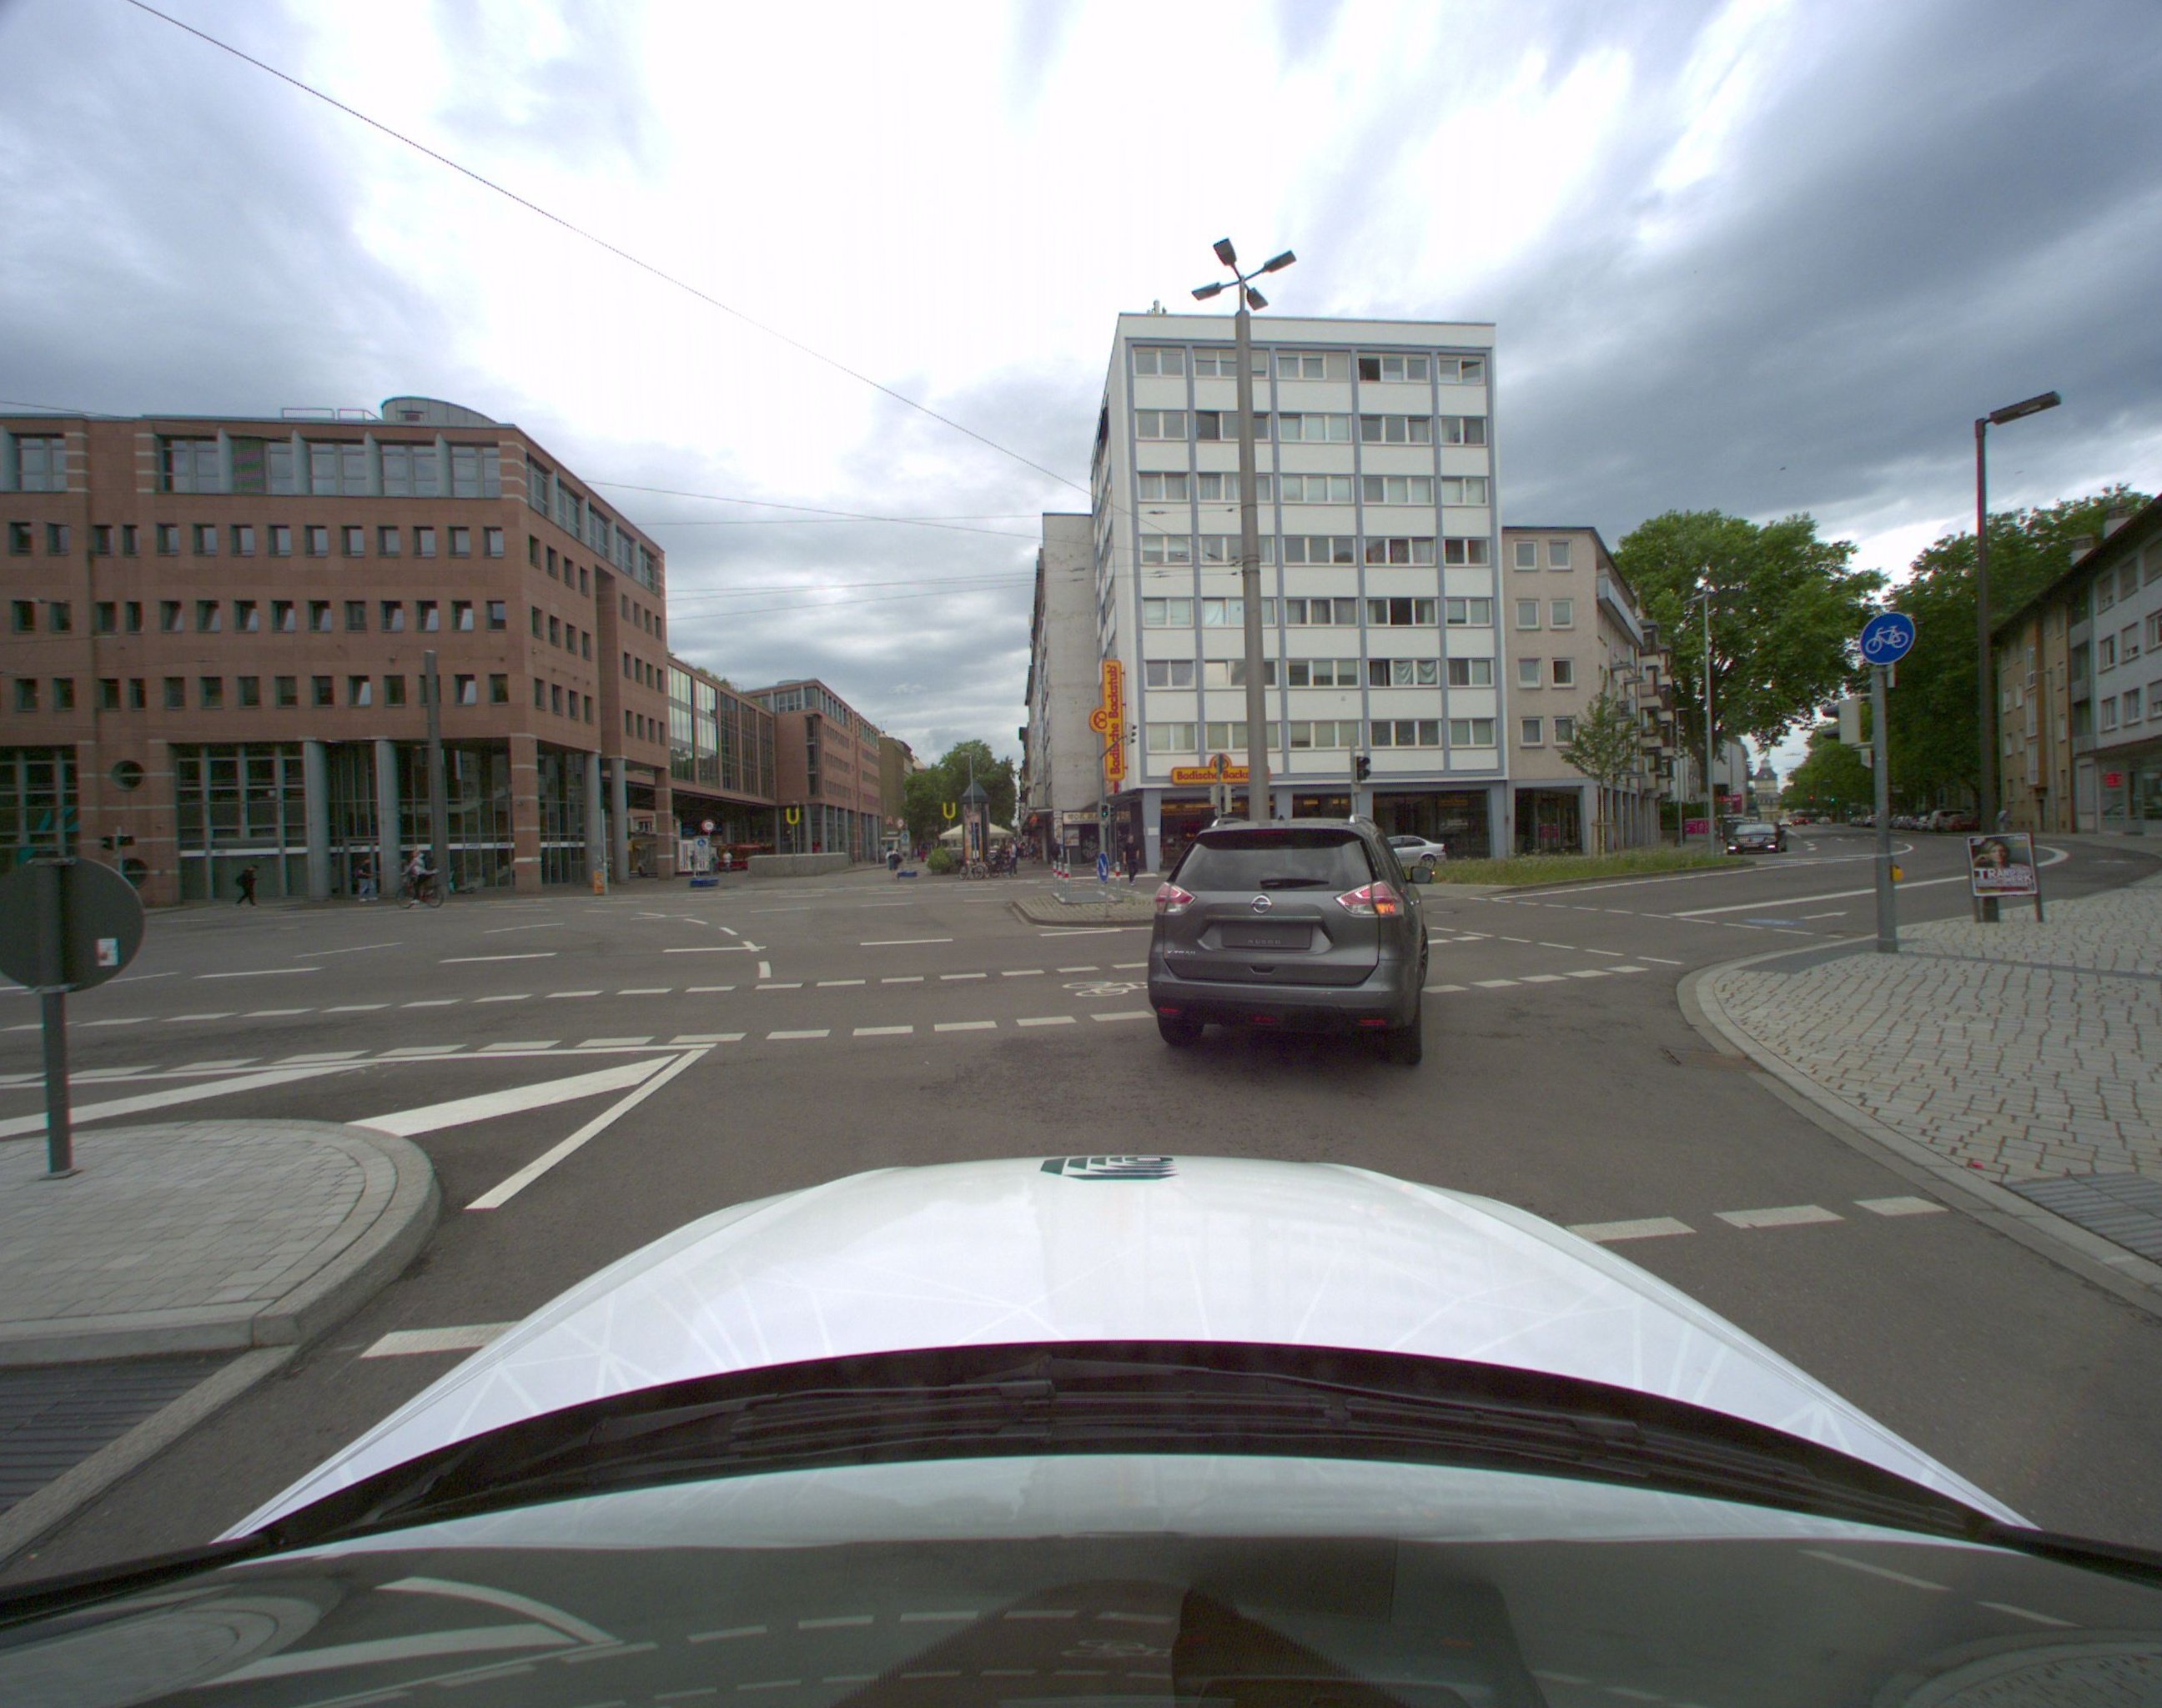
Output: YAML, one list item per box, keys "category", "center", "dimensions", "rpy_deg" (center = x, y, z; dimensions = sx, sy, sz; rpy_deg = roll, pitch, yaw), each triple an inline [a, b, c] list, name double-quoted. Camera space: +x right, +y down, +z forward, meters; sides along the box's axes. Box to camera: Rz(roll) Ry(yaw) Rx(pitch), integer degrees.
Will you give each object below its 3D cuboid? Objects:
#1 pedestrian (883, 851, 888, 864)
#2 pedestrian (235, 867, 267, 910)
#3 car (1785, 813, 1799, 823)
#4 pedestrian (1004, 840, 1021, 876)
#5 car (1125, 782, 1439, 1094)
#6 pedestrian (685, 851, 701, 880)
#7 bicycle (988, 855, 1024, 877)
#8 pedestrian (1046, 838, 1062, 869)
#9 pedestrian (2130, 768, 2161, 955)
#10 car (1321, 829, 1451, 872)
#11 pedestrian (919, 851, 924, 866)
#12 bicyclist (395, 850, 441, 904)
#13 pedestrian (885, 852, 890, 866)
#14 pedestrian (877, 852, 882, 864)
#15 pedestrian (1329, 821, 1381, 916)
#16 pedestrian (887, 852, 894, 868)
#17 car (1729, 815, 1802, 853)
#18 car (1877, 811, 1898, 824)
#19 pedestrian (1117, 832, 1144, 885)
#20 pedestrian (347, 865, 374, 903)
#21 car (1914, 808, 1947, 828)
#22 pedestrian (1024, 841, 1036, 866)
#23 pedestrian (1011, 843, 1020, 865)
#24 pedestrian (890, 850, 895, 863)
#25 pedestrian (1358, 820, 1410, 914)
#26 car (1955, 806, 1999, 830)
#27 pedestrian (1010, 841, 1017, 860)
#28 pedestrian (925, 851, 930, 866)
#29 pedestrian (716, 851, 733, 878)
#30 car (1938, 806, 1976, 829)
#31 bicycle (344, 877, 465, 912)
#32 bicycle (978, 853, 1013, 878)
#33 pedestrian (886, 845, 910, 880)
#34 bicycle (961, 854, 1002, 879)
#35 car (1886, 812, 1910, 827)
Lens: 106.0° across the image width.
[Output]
- category: "pedestrian"
  center: [-26.575, 0.513, 110.794]
  dimensions: [0.601, 1.714, 0.653]
  rpy_deg: [-1, 0, -12]
- category: "pedestrian"
  center: [-32.893, 1.361, 32.280]
  dimensions: [0.746, 1.688, 0.568]
  rpy_deg: [-1, -1, -31]
- category: "car"
  center: [130.631, -6.698, 149.662]
  dimensions: [1.846, 1.774, 4.009]
  rpy_deg: [0, 3, 42]
- category: "pedestrian"
  center: [-3.311, 0.180, 39.423]
  dimensions: [0.733, 1.745, 0.660]
  rpy_deg: [-1, 0, -13]
- category: "car"
  center: [2.005, 0.462, 7.097]
  dimensions: [1.847, 1.774, 4.591]
  rpy_deg: [-1, 0, 21]
- category: "pedestrian"
  center: [-24.933, 0.704, 52.319]
  dimensions: [0.700, 1.841, 0.732]
  rpy_deg: [-1, 0, -10]
- category: "bicycle"
  center: [-3.674, 0.573, 39.727]
  dimensions: [1.689, 1.065, 0.437]
  rpy_deg: [-1, 0, 1]
- category: "pedestrian"
  center: [-1.476, -0.018, 44.655]
  dimensions: [0.706, 1.705, 0.736]
  rpy_deg: [-1, 0, 7]
- category: "pedestrian"
  center: [11.060, 0.059, 7.671]
  dimensions: [0.799, 1.862, 1.154]
  rpy_deg: [-3, 0, 5]
- category: "car"
  center: [12.084, -0.152, 32.365]
  dimensions: [4.548, 1.481, 1.744]
  rpy_deg: [-3, 0, -8]
- category: "pedestrian"
  center: [-19.177, 0.524, 97.794]
  dimensions: [0.601, 1.714, 0.653]
  rpy_deg: [-1, 0, -12]
- category: "bicyclist"
  center: [-22.875, 0.777, 28.112]
  dimensions: [0.872, 1.812, 0.836]
  rpy_deg: [-1, 0, -3]
- category: "pedestrian"
  center: [-23.498, 0.631, 98.781]
  dimensions: [0.601, 1.714, 0.653]
  rpy_deg: [-1, 0, -12]
- category: "pedestrian"
  center: [-27.392, 0.555, 110.621]
  dimensions: [0.601, 1.714, 0.653]
  rpy_deg: [-1, 0, -12]
- category: "pedestrian"
  center: [5.263, 0.264, 15.695]
  dimensions: [0.622, 1.761, 0.776]
  rpy_deg: [-1, 0, -13]
- category: "pedestrian"
  center: [-18.775, 0.554, 80.332]
  dimensions: [0.601, 1.536, 0.653]
  rpy_deg: [-1, 0, -12]
- category: "car"
  center: [30.198, -0.887, 35.881]
  dimensions: [4.591, 1.481, 1.728]
  rpy_deg: [-3, 0, -41]
- category: "car"
  center: [112.474, -5.056, 113.576]
  dimensions: [1.846, 1.774, 4.009]
  rpy_deg: [0, 3, 42]
- category: "pedestrian"
  center: [1.749, 0.154, 28.954]
  dimensions: [0.713, 1.832, 1.013]
  rpy_deg: [-1, 0, -12]
- category: "pedestrian"
  center: [-30.056, 1.254, 33.980]
  dimensions: [0.746, 1.560, 0.568]
  rpy_deg: [-1, -1, -31]
- category: "car"
  center: [80.967, -3.468, 77.665]
  dimensions: [1.846, 1.774, 4.009]
  rpy_deg: [0, 3, 42]
- category: "pedestrian"
  center: [-3.778, -0.015, 60.250]
  dimensions: [0.737, 1.821, 0.660]
  rpy_deg: [-2, 0, -7]
- category: "pedestrian"
  center: [-5.021, 0.001, 62.261]
  dimensions: [0.642, 1.705, 0.558]
  rpy_deg: [-1, 0, -4]
- category: "pedestrian"
  center: [-24.835, 0.344, 107.055]
  dimensions: [0.601, 1.714, 0.653]
  rpy_deg: [-1, 0, -12]
- category: "pedestrian"
  center: [5.894, 0.240, 15.857]
  dimensions: [0.622, 1.761, 0.776]
  rpy_deg: [-1, 0, -13]
- category: "car"
  center: [68.638, -2.767, 62.437]
  dimensions: [1.846, 1.774, 4.009]
  rpy_deg: [0, 3, 42]
- category: "pedestrian"
  center: [-6.303, -0.338, 75.983]
  dimensions: [0.610, 1.705, 0.619]
  rpy_deg: [-1, 0, -4]
- category: "pedestrian"
  center: [-18.455, 0.515, 97.982]
  dimensions: [0.601, 1.714, 0.653]
  rpy_deg: [-1, 0, -12]
- category: "pedestrian"
  center: [-24.738, 0.754, 56.507]
  dimensions: [0.695, 1.841, 0.737]
  rpy_deg: [-1, 0, 14]
- category: "car"
  center: [73.354, -3.071, 68.248]
  dimensions: [1.846, 1.774, 4.009]
  rpy_deg: [0, 3, 42]
- category: "bicycle"
  center: [-23.281, 1.395, 28.073]
  dimensions: [3.260, 1.044, 0.903]
  rpy_deg: [-2, 0, -4]
- category: "bicycle"
  center: [-4.240, 0.562, 40.256]
  dimensions: [1.697, 1.171, 0.435]
  rpy_deg: [-1, 0, -12]
- category: "pedestrian"
  center: [-9.240, 0.425, 41.071]
  dimensions: [0.919, 1.705, 0.737]
  rpy_deg: [-1, 0, 14]
- category: "bicycle"
  center: [-4.826, 0.588, 39.570]
  dimensions: [1.873, 1.171, 0.527]
  rpy_deg: [-1, 0, -19]
- category: "car"
  center: [101.942, -4.370, 101.663]
  dimensions: [1.846, 1.774, 4.009]
  rpy_deg: [0, 3, 42]
